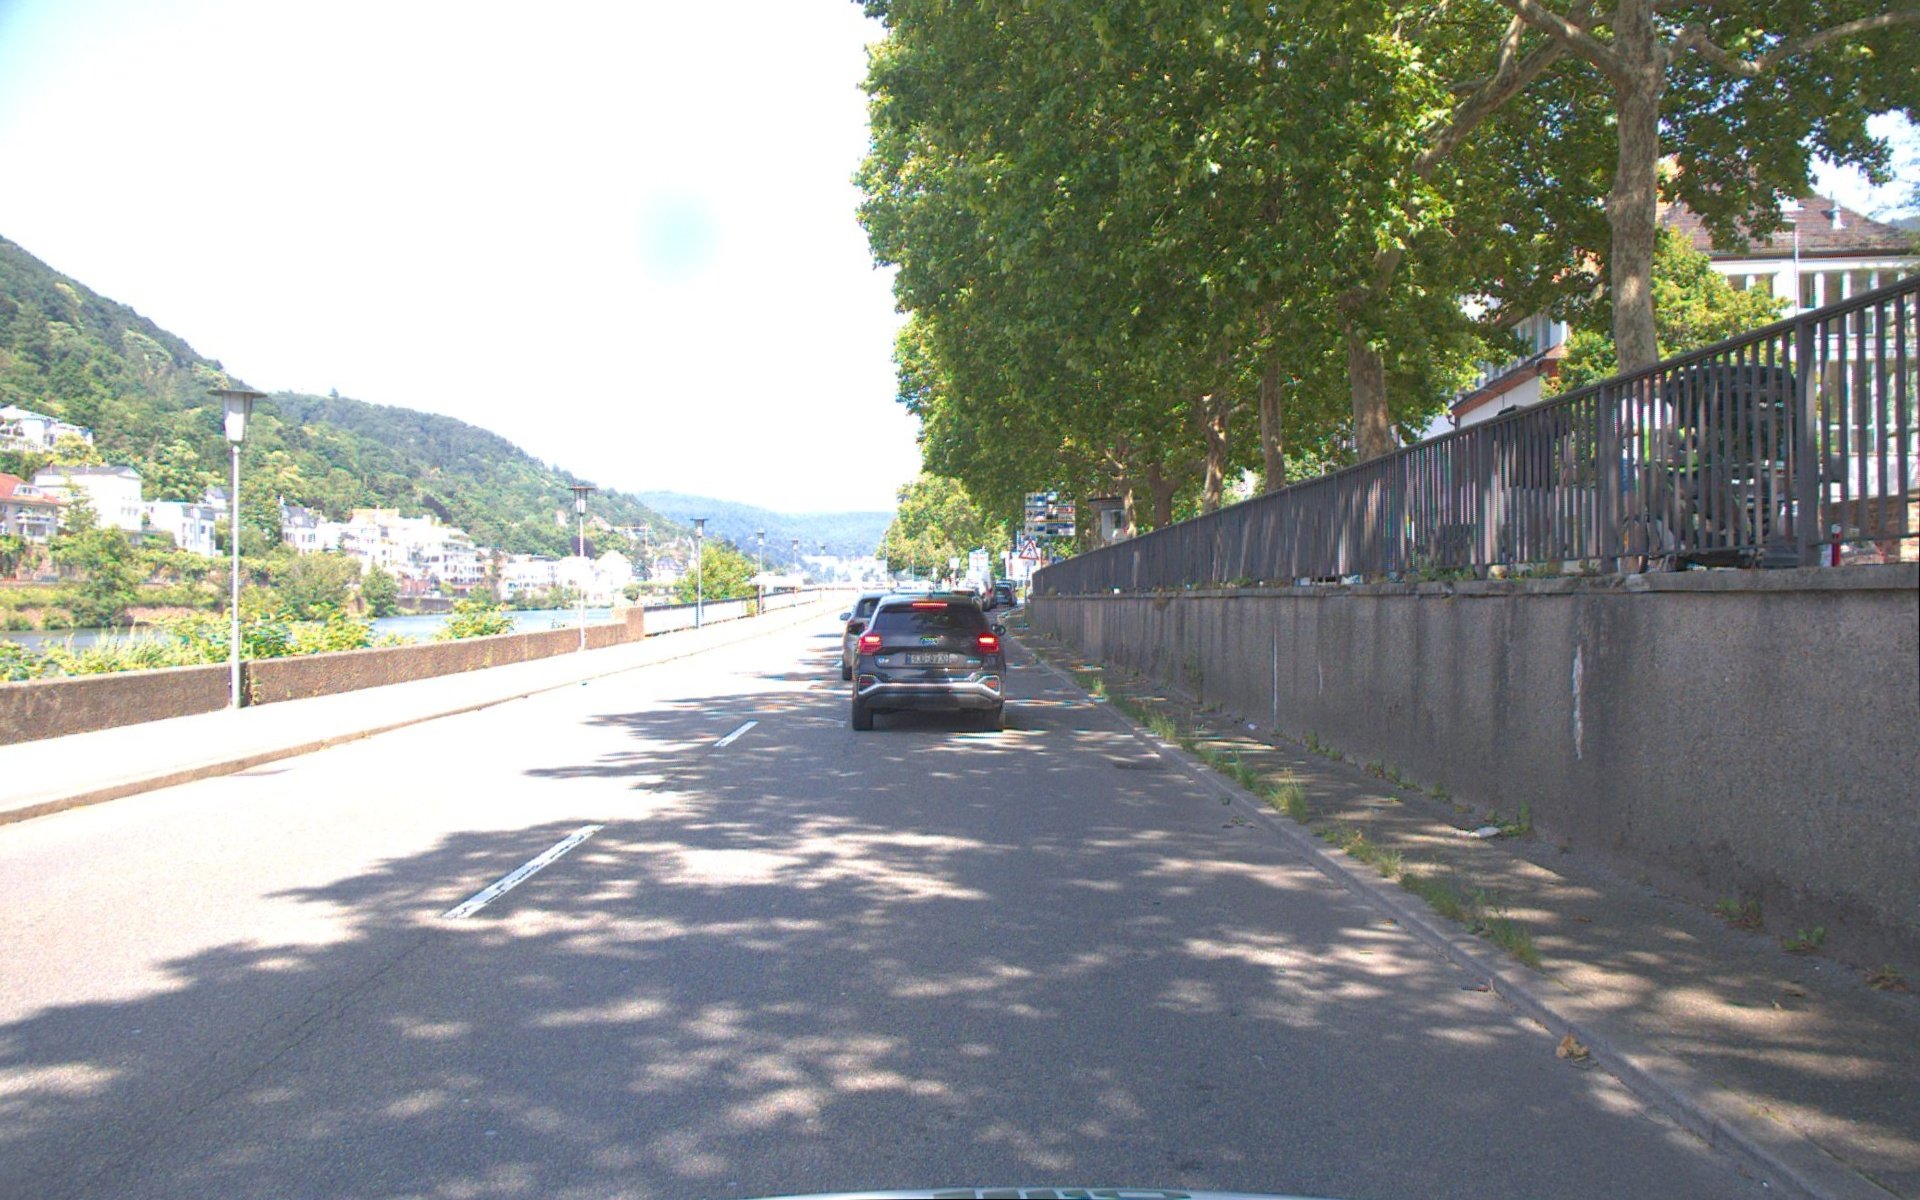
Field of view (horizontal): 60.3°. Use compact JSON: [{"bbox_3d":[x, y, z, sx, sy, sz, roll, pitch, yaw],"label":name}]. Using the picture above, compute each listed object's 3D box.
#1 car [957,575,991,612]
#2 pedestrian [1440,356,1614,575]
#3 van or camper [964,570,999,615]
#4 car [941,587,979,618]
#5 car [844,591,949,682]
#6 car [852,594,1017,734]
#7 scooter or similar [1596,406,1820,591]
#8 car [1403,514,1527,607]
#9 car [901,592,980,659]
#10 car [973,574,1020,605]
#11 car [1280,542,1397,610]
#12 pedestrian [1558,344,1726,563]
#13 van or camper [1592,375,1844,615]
[{"bbox_3d":[0.830,-0.388,101.354,1.953,2.207,3.999,-1,0,-1],"label":"car"},{"bbox_3d":[4.484,-1.037,13.150,0.918,1.607,1.027,-3,0,-3],"label":"pedestrian"},{"bbox_3d":[1.423,-0.496,110.094,2.262,2.897,4.246,-1,0,1],"label":"van or camper"},{"bbox_3d":[-0.018,0.122,82.279,1.791,1.470,3.999,0,0,-1],"label":"car"},{"bbox_3d":[-1.130,0.612,30.188,1.791,1.537,3.999,0,0,-1],"label":"car"},{"bbox_3d":[-0.320,0.692,20.047,1.791,1.512,3.999,0,0,-1],"label":"car"},{"bbox_3d":[4.663,-0.608,10.396,0.838,1.044,1.107,-3,0,-2],"label":"scooter or similar"},{"bbox_3d":[8.984,-0.642,29.266,1.616,1.526,3.815,0,0,24],"label":"car"},{"bbox_3d":[-0.486,0.576,39.533,1.791,1.512,3.999,0,0,-1],"label":"car"},{"bbox_3d":[2.614,-0.774,120.185,3.036,2.048,5.823,-3,0,-1],"label":"car"},{"bbox_3d":[8.862,-0.534,38.521,1.740,1.495,3.995,0,0,27],"label":"car"},{"bbox_3d":[4.669,-0.979,11.382,0.666,1.389,0.989,-3,0,-1],"label":"pedestrian"},{"bbox_3d":[9.431,-1.050,20.140,2.293,2.222,7.345,2,-1,28],"label":"van or camper"}]
